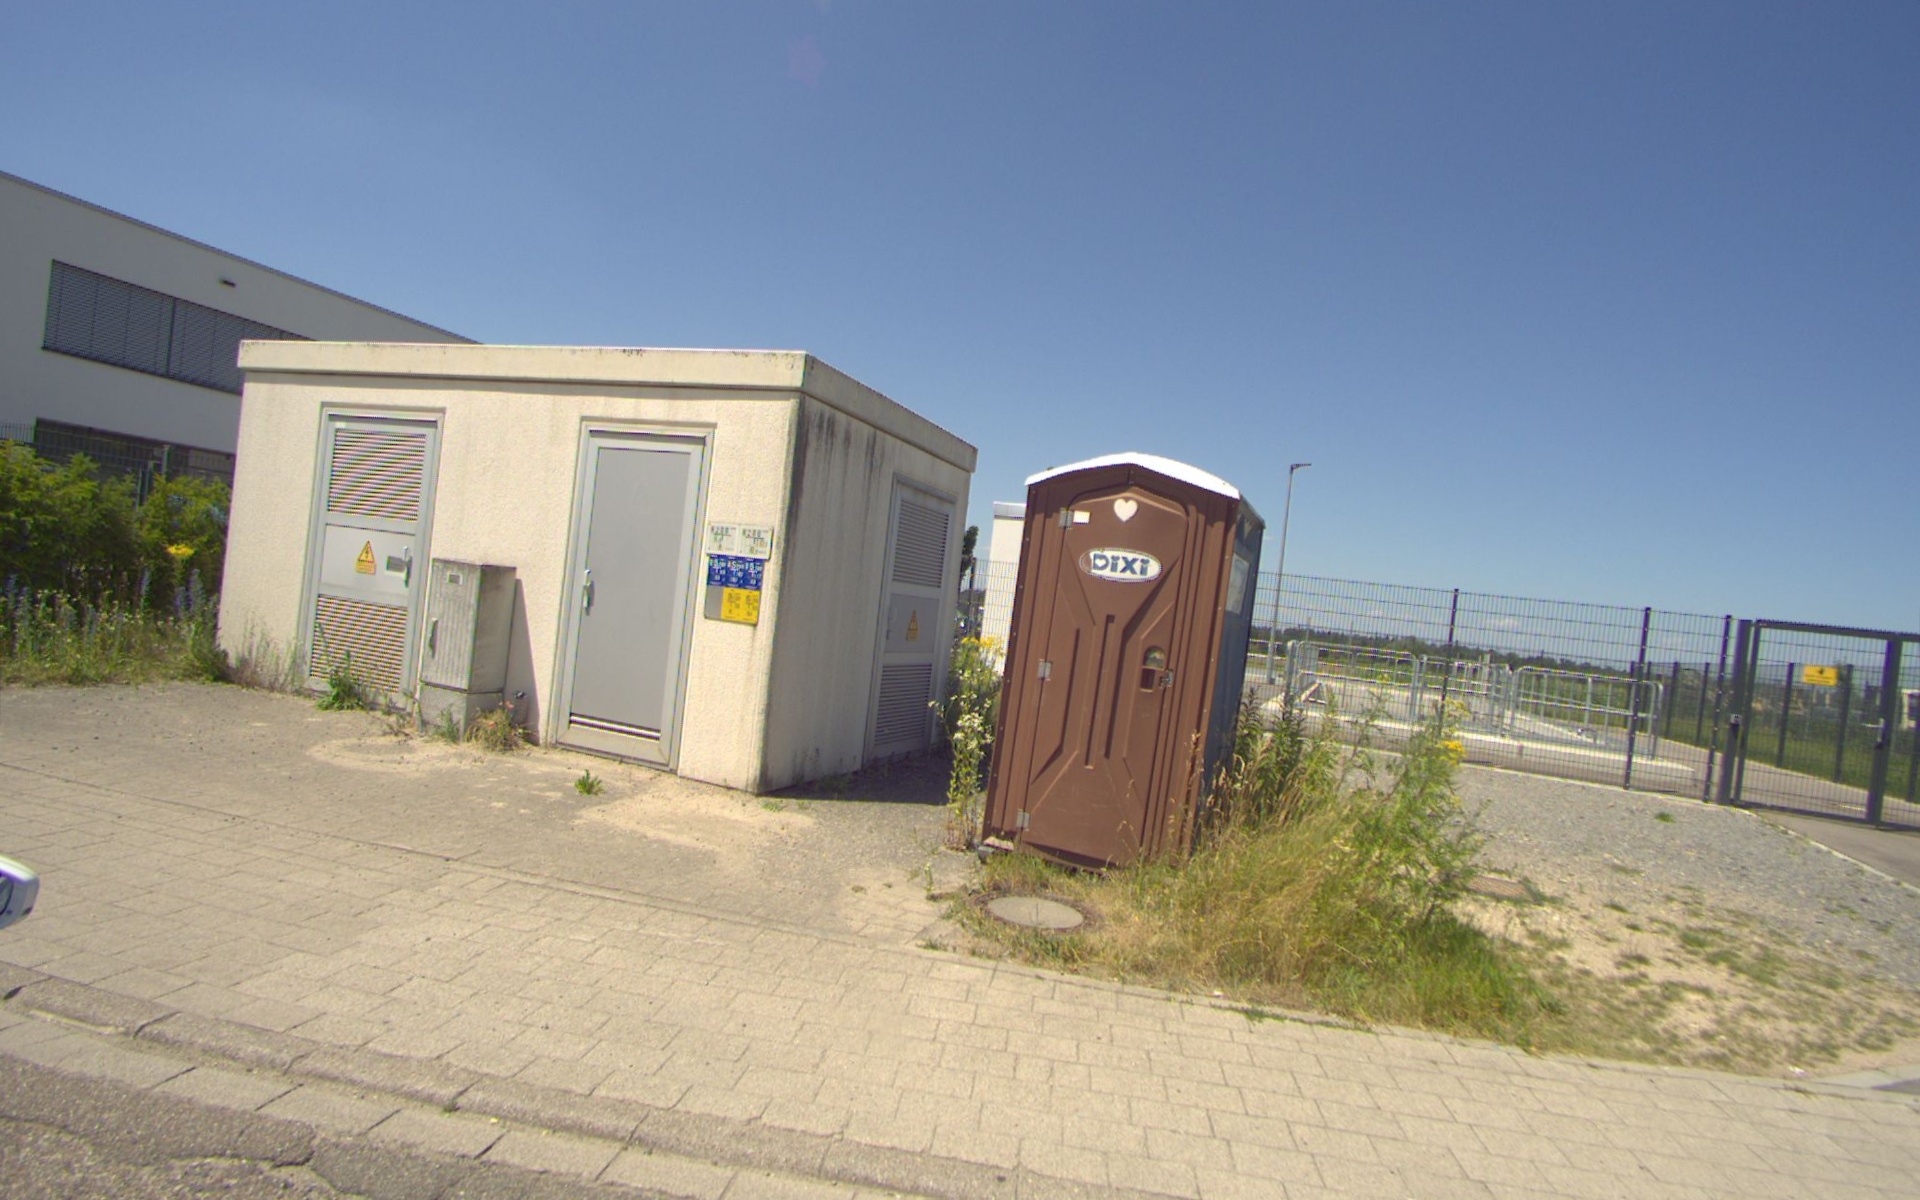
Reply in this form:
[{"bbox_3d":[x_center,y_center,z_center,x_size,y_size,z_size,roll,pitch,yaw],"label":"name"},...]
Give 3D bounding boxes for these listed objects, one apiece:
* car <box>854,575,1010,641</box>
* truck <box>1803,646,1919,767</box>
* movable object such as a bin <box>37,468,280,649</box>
[{"bbox_3d":[-0.794,0.225,28.704,3.927,1.524,1.860,5,0,22],"label":"car"},{"bbox_3d":[26.713,2.976,28.134,2.450,3.059,7.028,7,0,22],"label":"truck"},{"bbox_3d":[-7.773,-0.380,9.814,1.148,1.543,1.386,7,2,21],"label":"movable object such as a bin"}]
